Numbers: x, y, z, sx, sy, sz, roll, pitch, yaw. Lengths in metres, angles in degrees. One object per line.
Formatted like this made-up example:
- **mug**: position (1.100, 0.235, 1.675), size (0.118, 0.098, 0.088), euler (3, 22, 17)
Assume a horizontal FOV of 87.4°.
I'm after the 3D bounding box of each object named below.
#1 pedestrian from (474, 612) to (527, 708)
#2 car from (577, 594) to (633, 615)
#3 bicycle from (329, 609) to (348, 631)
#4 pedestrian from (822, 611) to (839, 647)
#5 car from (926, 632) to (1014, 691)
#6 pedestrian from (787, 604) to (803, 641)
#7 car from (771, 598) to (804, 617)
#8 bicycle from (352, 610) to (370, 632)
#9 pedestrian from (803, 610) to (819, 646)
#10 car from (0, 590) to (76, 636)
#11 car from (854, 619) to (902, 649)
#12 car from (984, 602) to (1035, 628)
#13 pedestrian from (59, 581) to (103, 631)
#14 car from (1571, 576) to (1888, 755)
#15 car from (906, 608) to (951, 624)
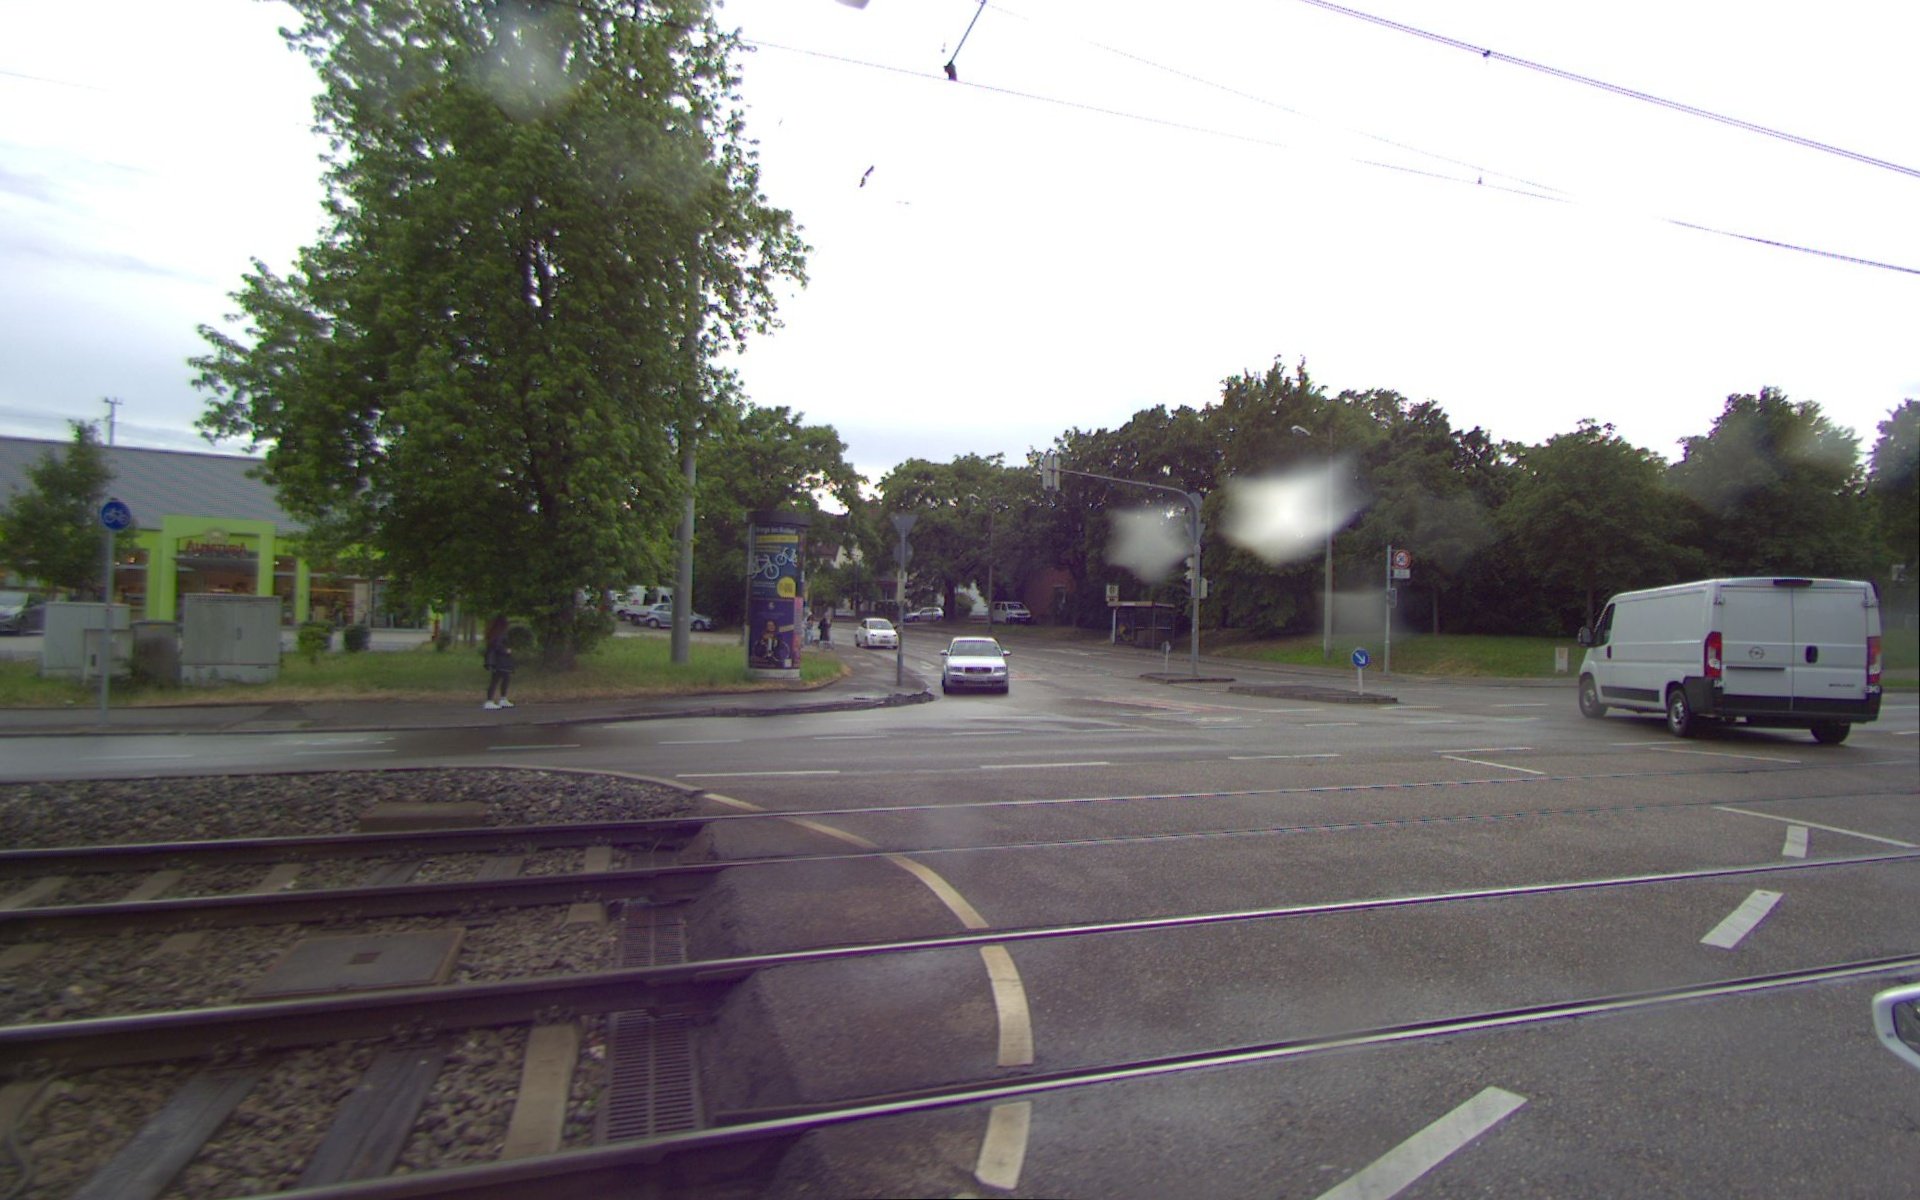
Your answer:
- **pedestrian**: position (-7.722, 1.007, 16.905), size (0.658, 1.552, 0.590), euler (3, 0, -17)
- **car**: position (-26.906, 0.352, 76.185), size (3.659, 1.502, 1.584), euler (0, -2, 10)
- **bicycle**: position (-28.960, 0.924, 46.783), size (0.527, 0.995, 1.605), euler (1, 0, -24)
- **pedestrian**: position (-6.051, 1.335, 46.995), size (0.646, 1.623, 0.676), euler (3, 0, -11)
- **car**: position (0.192, 1.646, 27.508), size (1.563, 1.455, 4.419), euler (1, -3, -11)
- **pedestrian**: position (-7.517, 1.020, 45.718), size (0.646, 1.623, 0.676), euler (3, 0, -11)
- **car**: position (-16.355, 0.688, 95.266), size (1.820, 1.554, 4.172), euler (3, 0, -28)
- **bicycle**: position (-28.108, 0.981, 47.166), size (0.527, 0.995, 1.605), euler (1, 0, -24)
- **pedestrian**: position (-6.933, 1.321, 46.772), size (0.596, 1.623, 0.676), euler (3, 0, -11)
- **car**: position (-30.706, 0.394, 32.585), size (1.751, 1.363, 4.353), euler (2, -1, -24)
- **car**: position (-4.340, 1.780, 52.936), size (1.665, 1.502, 3.985), euler (1, -2, -18)
- **car**: position (3.843, 1.143, 79.412), size (1.971, 1.829, 5.120), euler (4, -1, -22)
- **pedestrian**: position (-29.601, 0.210, 33.839), size (0.747, 1.618, 0.801), euler (3, 0, -16)
- **car**: position (11.604, 0.878, 15.707), size (2.110, 2.314, 5.065), euler (0, -1, 15)
- **car**: position (-3.009, 1.531, 96.077), size (3.949, 1.441, 1.692), euler (1, -1, -28)
